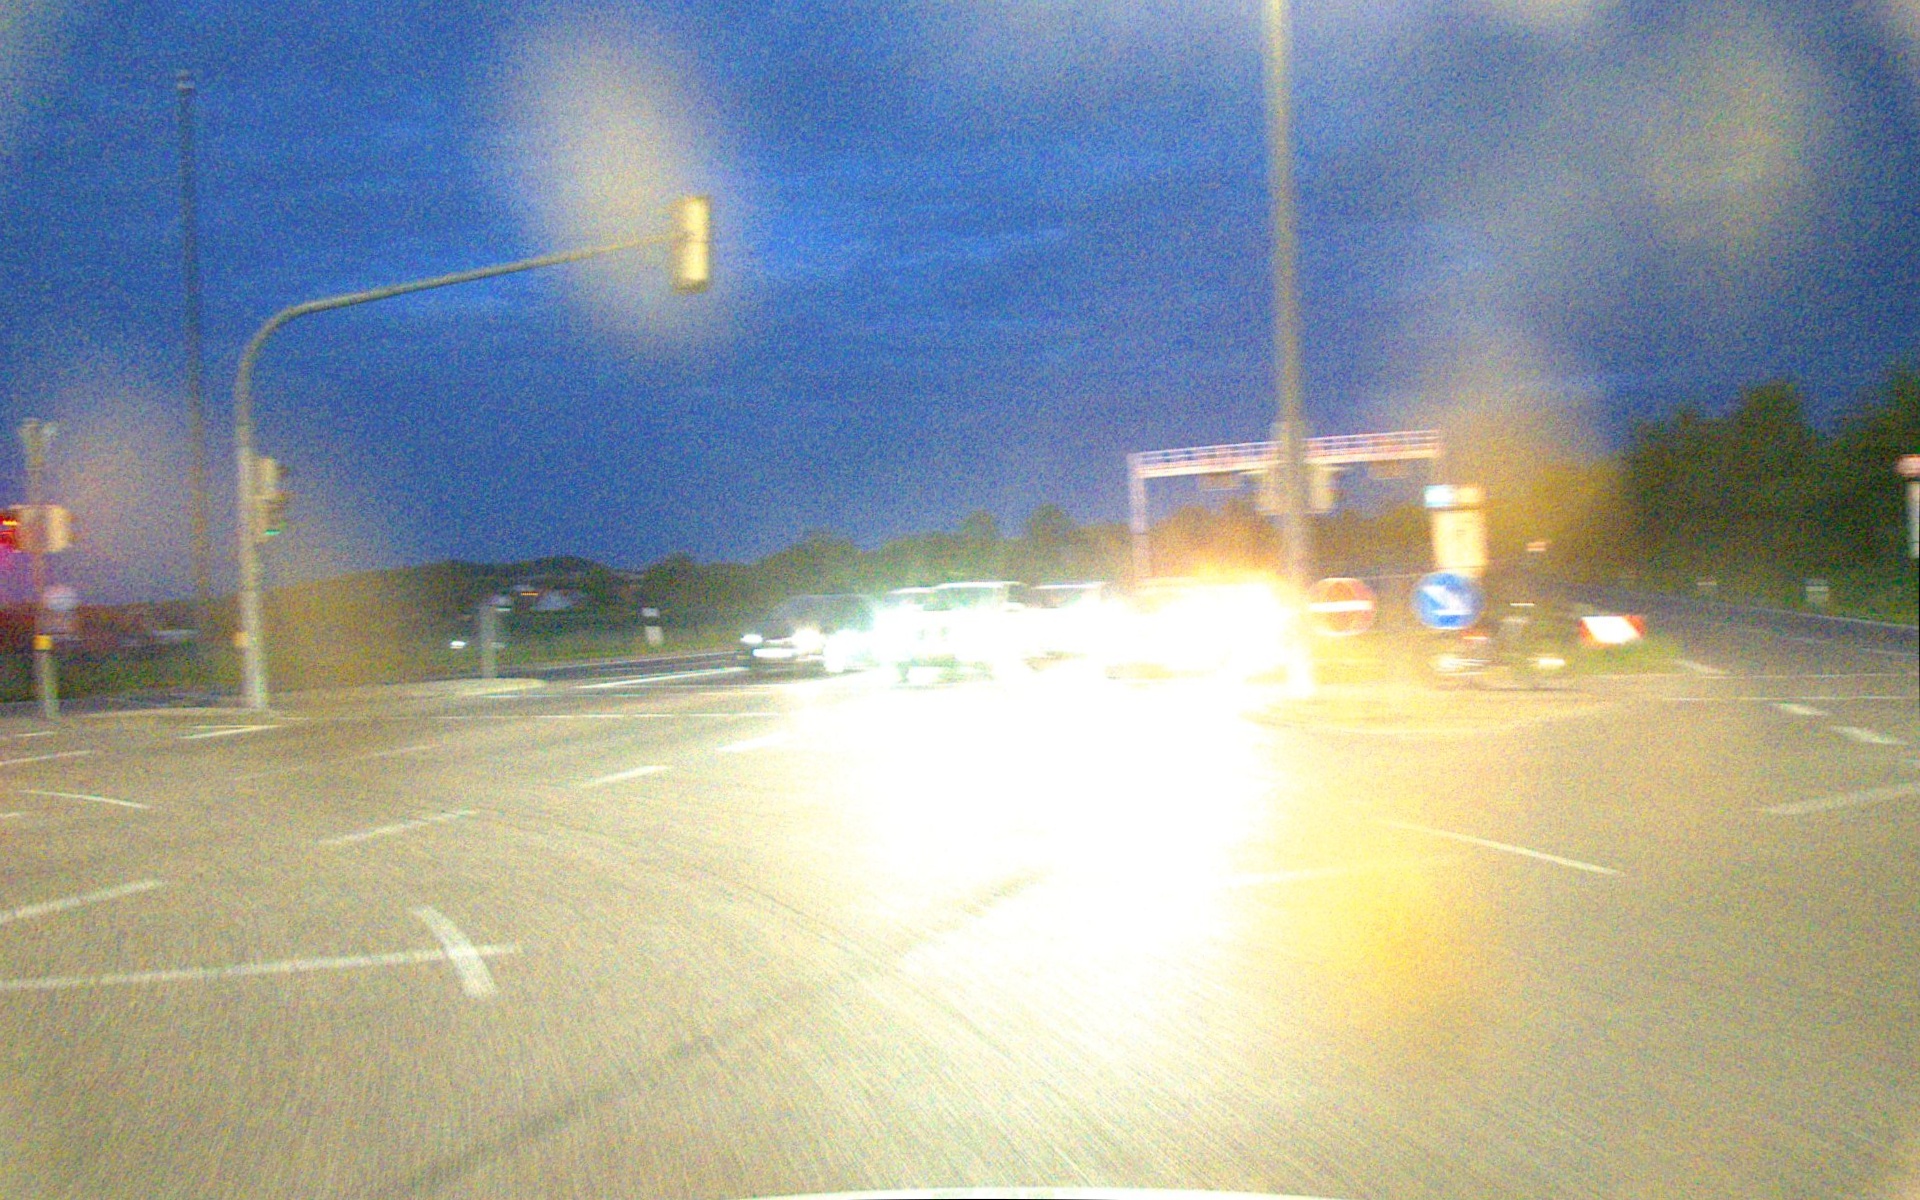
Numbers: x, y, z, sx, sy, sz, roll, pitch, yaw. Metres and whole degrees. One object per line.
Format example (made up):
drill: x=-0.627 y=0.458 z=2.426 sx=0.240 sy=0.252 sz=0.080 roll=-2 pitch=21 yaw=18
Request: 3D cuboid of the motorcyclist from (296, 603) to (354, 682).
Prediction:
motorcyclist: x=-15.543 y=1.037 z=40.480 sx=0.899 sy=1.840 sz=0.867 roll=-8 pitch=-5 yaw=35

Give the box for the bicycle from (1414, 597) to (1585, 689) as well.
bicycle: x=6.957 y=0.556 z=21.409 sx=2.017 sy=1.120 sz=0.696 roll=-2 pitch=0 yaw=12

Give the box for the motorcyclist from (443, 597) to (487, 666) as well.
motorcyclist: x=-13.268 y=0.841 z=44.338 sx=0.668 sy=1.789 sz=0.790 roll=-6 pitch=-3 yaw=21

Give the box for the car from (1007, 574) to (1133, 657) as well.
car: x=2.515 y=0.302 z=36.688 sx=1.709 sy=1.655 sz=4.365 roll=-1 pitch=1 yaw=18

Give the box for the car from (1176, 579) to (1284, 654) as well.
car: x=5.980 y=0.328 z=36.316 sx=1.736 sy=1.507 sz=3.912 roll=-1 pitch=1 yaw=18

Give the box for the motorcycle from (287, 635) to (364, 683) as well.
motorcycle: x=-15.511 y=1.446 z=40.470 sx=0.708 sy=1.051 sz=1.572 roll=-8 pitch=-5 yaw=35

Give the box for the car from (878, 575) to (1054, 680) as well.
car: x=0.206 y=0.447 z=29.876 sx=1.868 sy=1.711 sz=4.422 roll=-1 pitch=1 yaw=18

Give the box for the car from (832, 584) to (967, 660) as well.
car: x=-1.323 y=0.463 z=38.003 sx=1.793 sy=1.551 sz=4.002 roll=-2 pitch=0 yaw=17

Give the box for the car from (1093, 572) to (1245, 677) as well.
car: x=3.762 y=0.369 z=29.110 sx=1.813 sy=1.661 sz=4.588 roll=-1 pitch=1 yaw=18

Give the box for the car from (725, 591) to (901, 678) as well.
car: x=-2.743 y=0.622 z=31.948 sx=1.743 sy=1.471 sz=4.293 roll=-1 pitch=1 yaw=19

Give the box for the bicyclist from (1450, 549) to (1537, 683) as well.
bicyclist: x=6.892 y=0.208 z=21.394 sx=0.975 sy=1.680 sz=0.604 roll=-2 pitch=0 yaw=12

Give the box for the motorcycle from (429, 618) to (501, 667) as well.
motorcycle: x=-13.249 y=1.129 z=44.282 sx=0.830 sy=1.202 sz=1.821 roll=-6 pitch=-3 yaw=21
